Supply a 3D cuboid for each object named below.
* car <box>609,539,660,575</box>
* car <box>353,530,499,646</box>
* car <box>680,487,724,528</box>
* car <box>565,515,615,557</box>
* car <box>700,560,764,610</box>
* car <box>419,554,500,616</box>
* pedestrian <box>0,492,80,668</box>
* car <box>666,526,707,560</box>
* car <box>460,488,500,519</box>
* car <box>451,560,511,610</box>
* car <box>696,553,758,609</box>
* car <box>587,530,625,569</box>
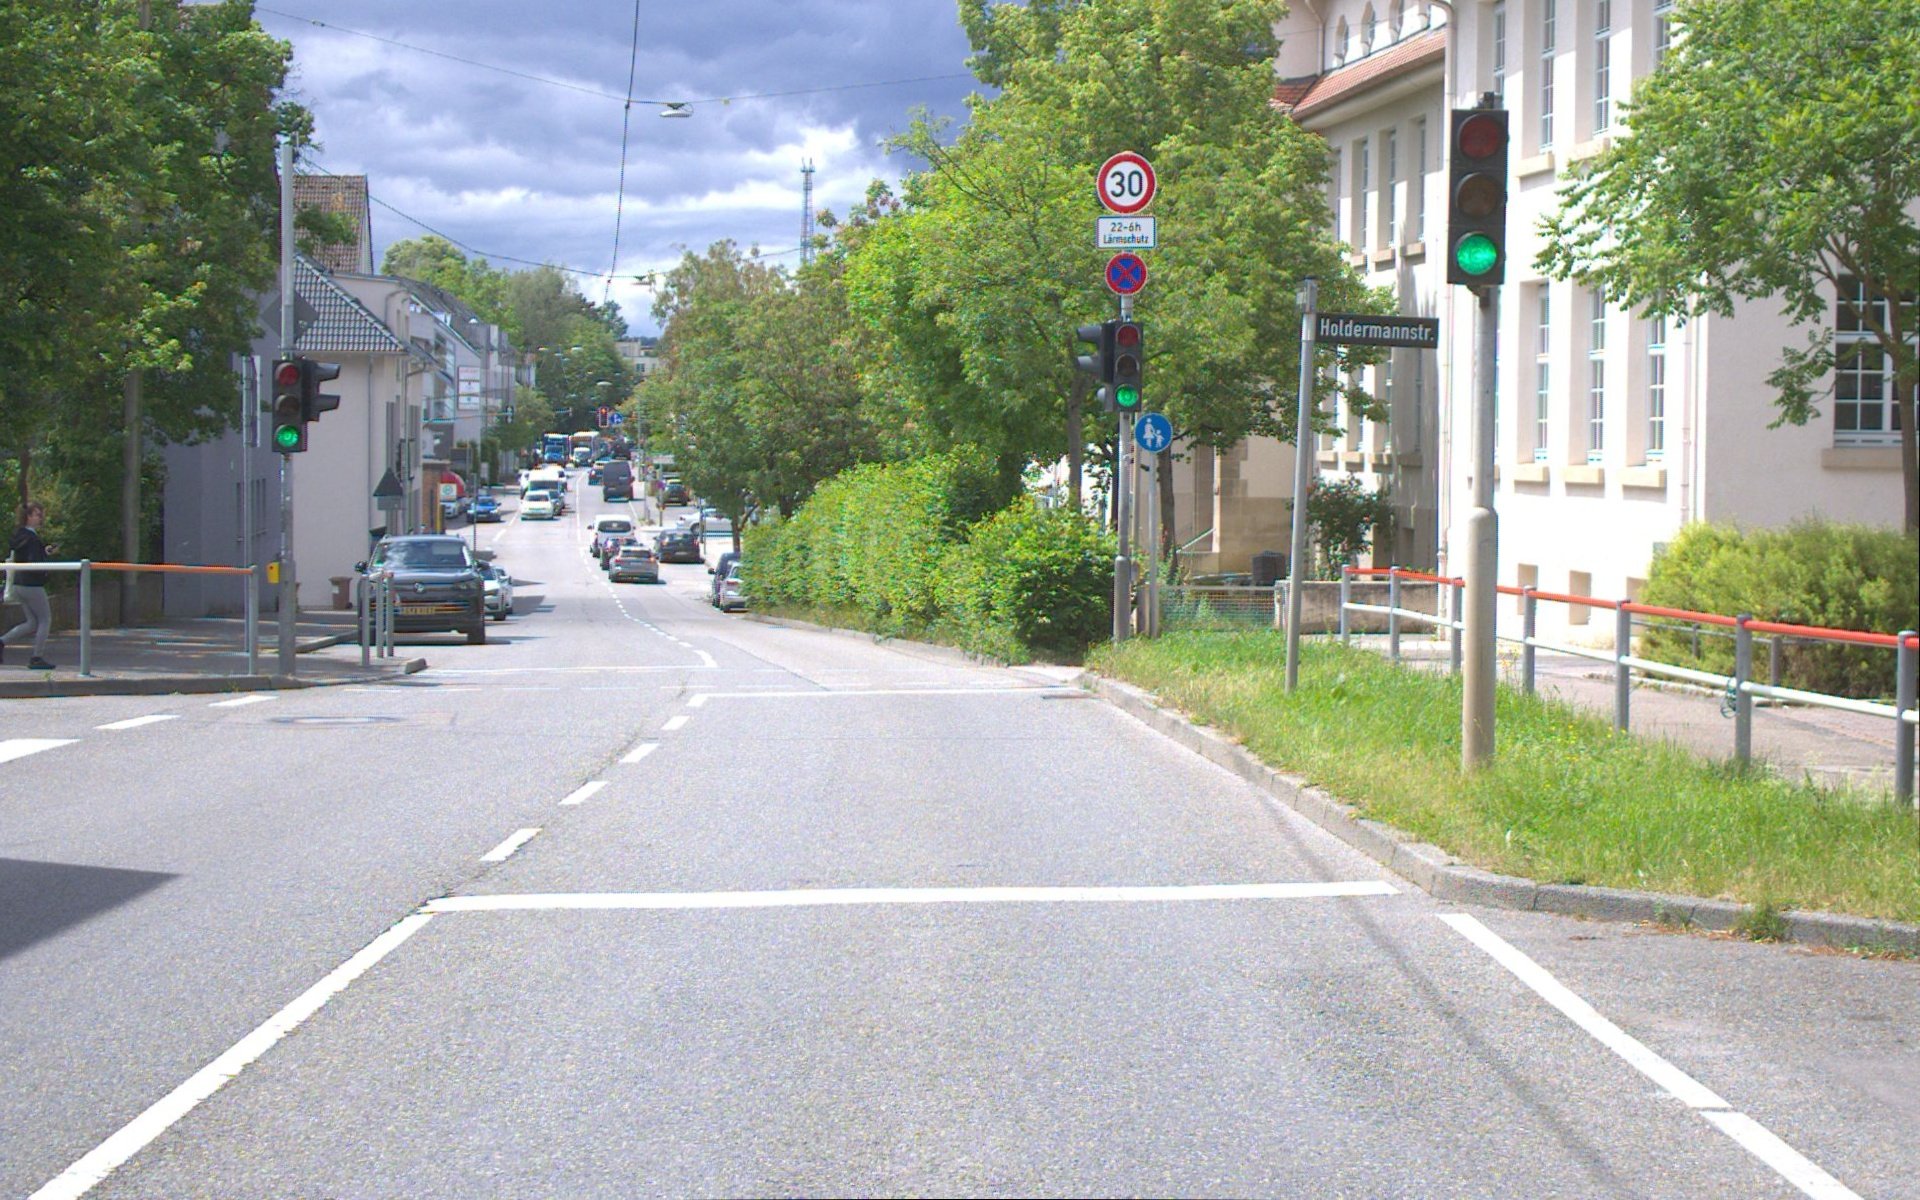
[{"bbox_3d":[-13.101,-1.730,138.114,1.743,1.412,4.001,0,1,-10],"label":"car"},{"bbox_3d":[-7.877,-0.213,51.038,1.795,1.605,4.647,1,1,-5],"label":"car"},{"bbox_3d":[-13.221,-4.736,176.261,1.993,2.007,4.000,1,1,-1],"label":"car"},{"bbox_3d":[-16.922,-2.928,157.092,1.836,1.855,3.852,1,1,-12],"label":"car"},{"bbox_3d":[-7.167,-0.490,107.921,1.786,1.504,4.365,1,1,-6],"label":"car"},{"bbox_3d":[-12.305,-0.381,84.366,1.697,1.385,3.867,1,2,-12],"label":"car"},{"bbox_3d":[-8.595,-0.186,31.530,0.770,1.592,0.671,0,1,-42],"label":"pedestrian"},{"bbox_3d":[-12.275,-2.556,154.125,1.752,1.366,4.000,0,-1,-6],"label":"car"},{"bbox_3d":[-26.903,-5.378,192.726,1.872,1.634,4.001,2,1,-4],"label":"car"},{"bbox_3d":[-14.210,-0.467,102.045,1.647,1.414,3.699,1,1,-7],"label":"car"},{"bbox_3d":[-7.741,-0.651,113.894,1.844,1.761,4.516,1,1,-6],"label":"car"},{"bbox_3d":[-15.239,-2.180,147.921,1.273,1.522,3.052,0,4,-12],"label":"car"}]
